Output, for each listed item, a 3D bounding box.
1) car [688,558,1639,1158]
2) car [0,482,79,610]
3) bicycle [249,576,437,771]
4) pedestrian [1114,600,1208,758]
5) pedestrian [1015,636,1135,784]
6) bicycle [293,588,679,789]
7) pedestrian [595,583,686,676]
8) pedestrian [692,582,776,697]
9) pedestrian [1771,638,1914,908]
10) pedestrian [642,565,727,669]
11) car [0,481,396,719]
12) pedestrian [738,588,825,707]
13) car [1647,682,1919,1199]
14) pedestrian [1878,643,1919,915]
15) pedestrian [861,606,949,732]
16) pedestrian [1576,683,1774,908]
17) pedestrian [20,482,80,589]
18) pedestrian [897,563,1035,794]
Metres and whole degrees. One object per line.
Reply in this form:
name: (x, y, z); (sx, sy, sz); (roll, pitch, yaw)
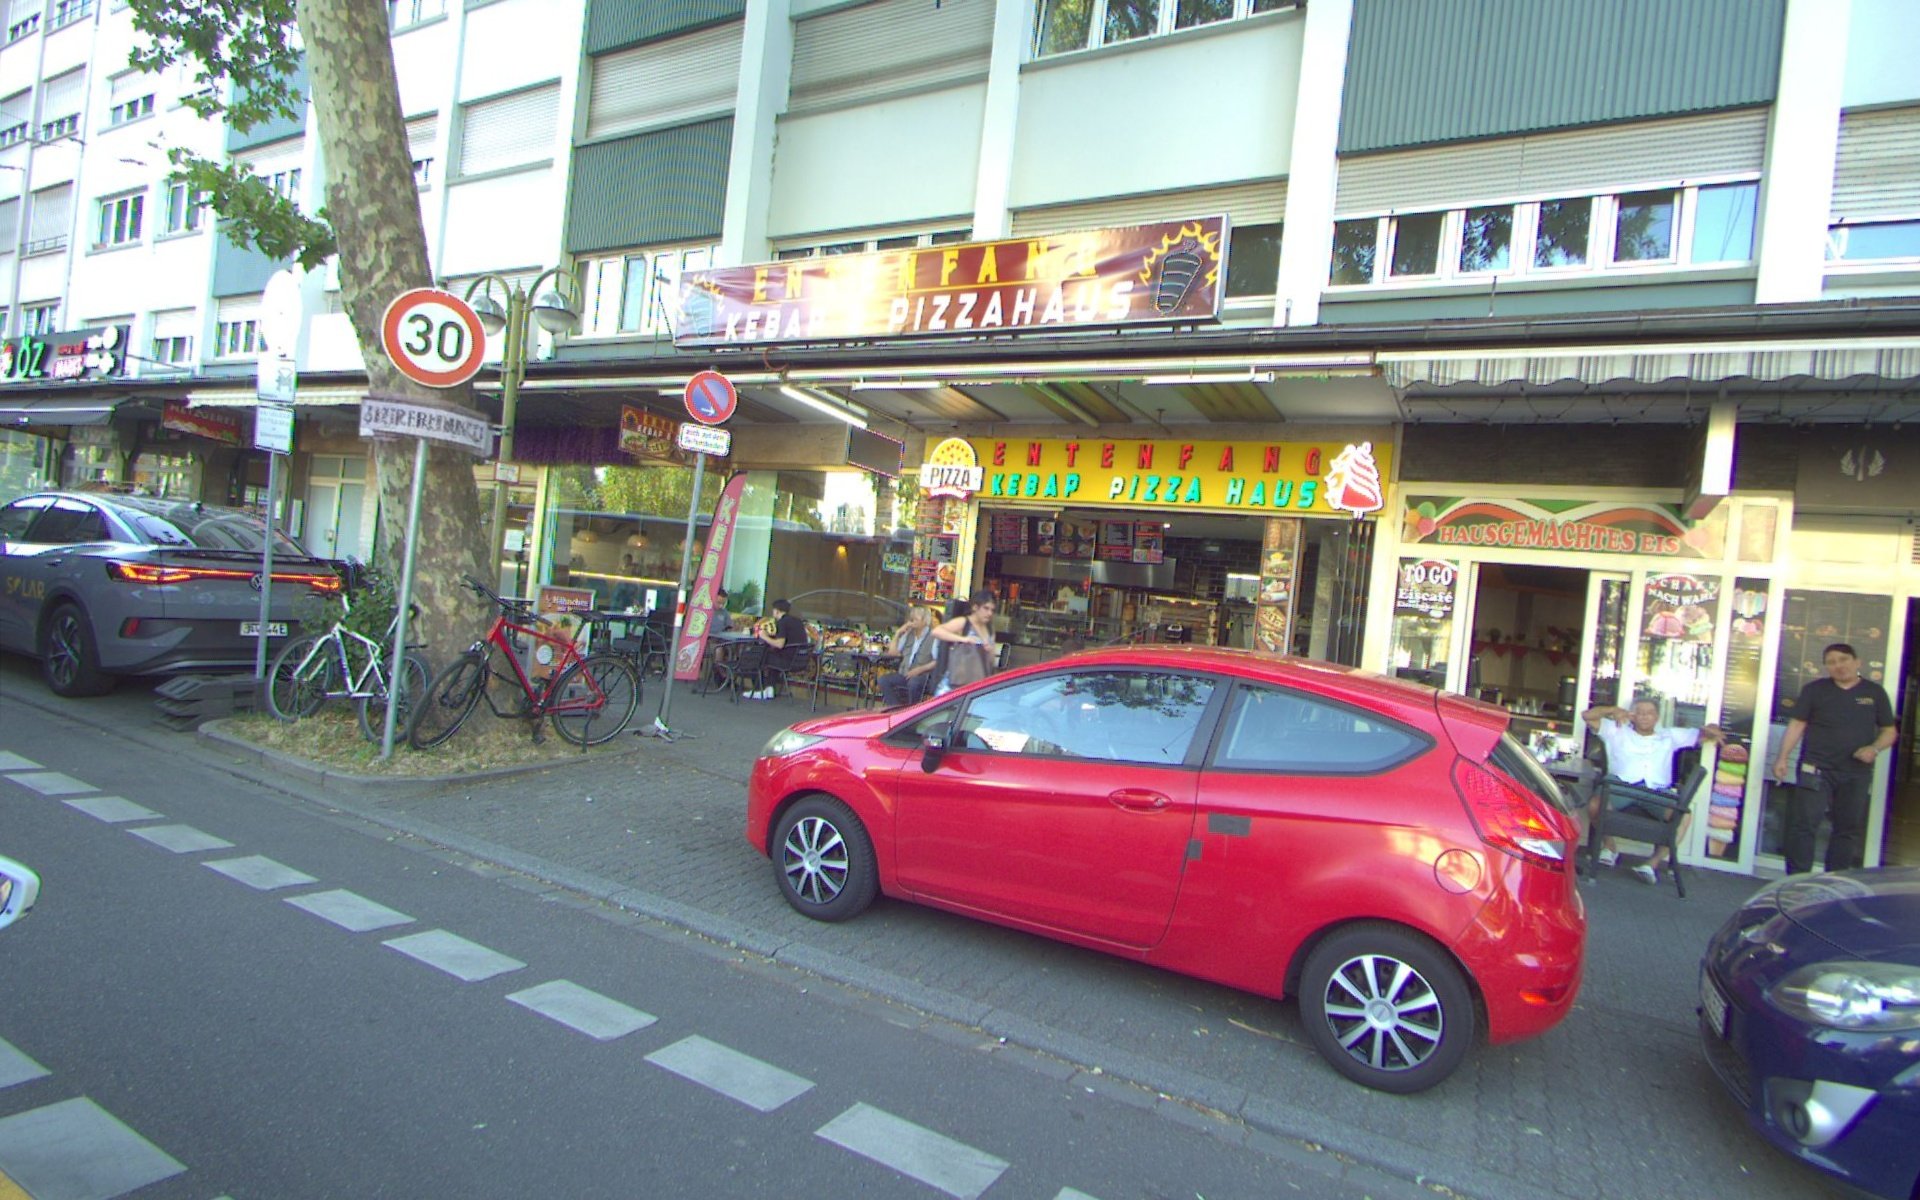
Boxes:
car: (0.789, 0.796, 4.821); (3.757, 1.617, 1.783); (6, 3, 28)
car: (-14.259, -0.920, 13.642); (4.292, 1.603, 1.996); (7, 2, 27)
bicycle: (-4.410, 0.486, 7.156); (1.421, 1.169, 0.553); (6, 0, 36)
pedestrian: (2.132, 0.828, 10.647); (0.589, 1.566, 0.700); (7, 0, 34)
pedestrian: (1.071, 0.989, 9.326); (0.798, 1.225, 0.654); (7, 2, 28)
bicycle: (-3.188, 0.539, 7.018); (0.547, 1.171, 2.377); (7, 4, 44)
pedestrian: (-4.158, 0.381, 13.156); (0.940, 1.094, 0.639); (7, 0, -9)
pedestrian: (-2.678, 0.468, 11.923); (0.680, 1.261, 0.557); (7, 2, 38)
pedestrian: (6.254, 1.194, 7.153); (0.547, 1.802, 0.395); (6, 2, 29)
pedestrian: (-3.930, 0.237, 14.420); (0.958, 1.350, 0.830); (6, 0, -9)
car: (-7.485, -0.130, 9.156); (4.292, 1.603, 1.996); (7, 2, 27)
pedestrian: (-2.052, 0.536, 11.553); (0.679, 1.261, 0.558); (7, 2, 33)
car: (4.236, 1.253, 2.790); (3.549, 1.488, 1.767); (6, 3, 29)
pedestrian: (6.688, 1.222, 6.743); (0.391, 1.805, 0.552); (4, 2, -29)
pedestrian: (-0.587, 0.728, 10.795); (0.550, 1.252, 0.689); (7, 2, 29)
pedestrian: (5.101, 1.337, 7.276); (0.937, 1.352, 1.069); (7, 0, 30)
pedestrian: (-15.094, -1.063, 16.695); (0.661, 1.688, 0.593); (4, 2, -42)
pedestrian: (0.051, 0.588, 7.806); (0.782, 1.666, 0.583); (4, -1, 26)
